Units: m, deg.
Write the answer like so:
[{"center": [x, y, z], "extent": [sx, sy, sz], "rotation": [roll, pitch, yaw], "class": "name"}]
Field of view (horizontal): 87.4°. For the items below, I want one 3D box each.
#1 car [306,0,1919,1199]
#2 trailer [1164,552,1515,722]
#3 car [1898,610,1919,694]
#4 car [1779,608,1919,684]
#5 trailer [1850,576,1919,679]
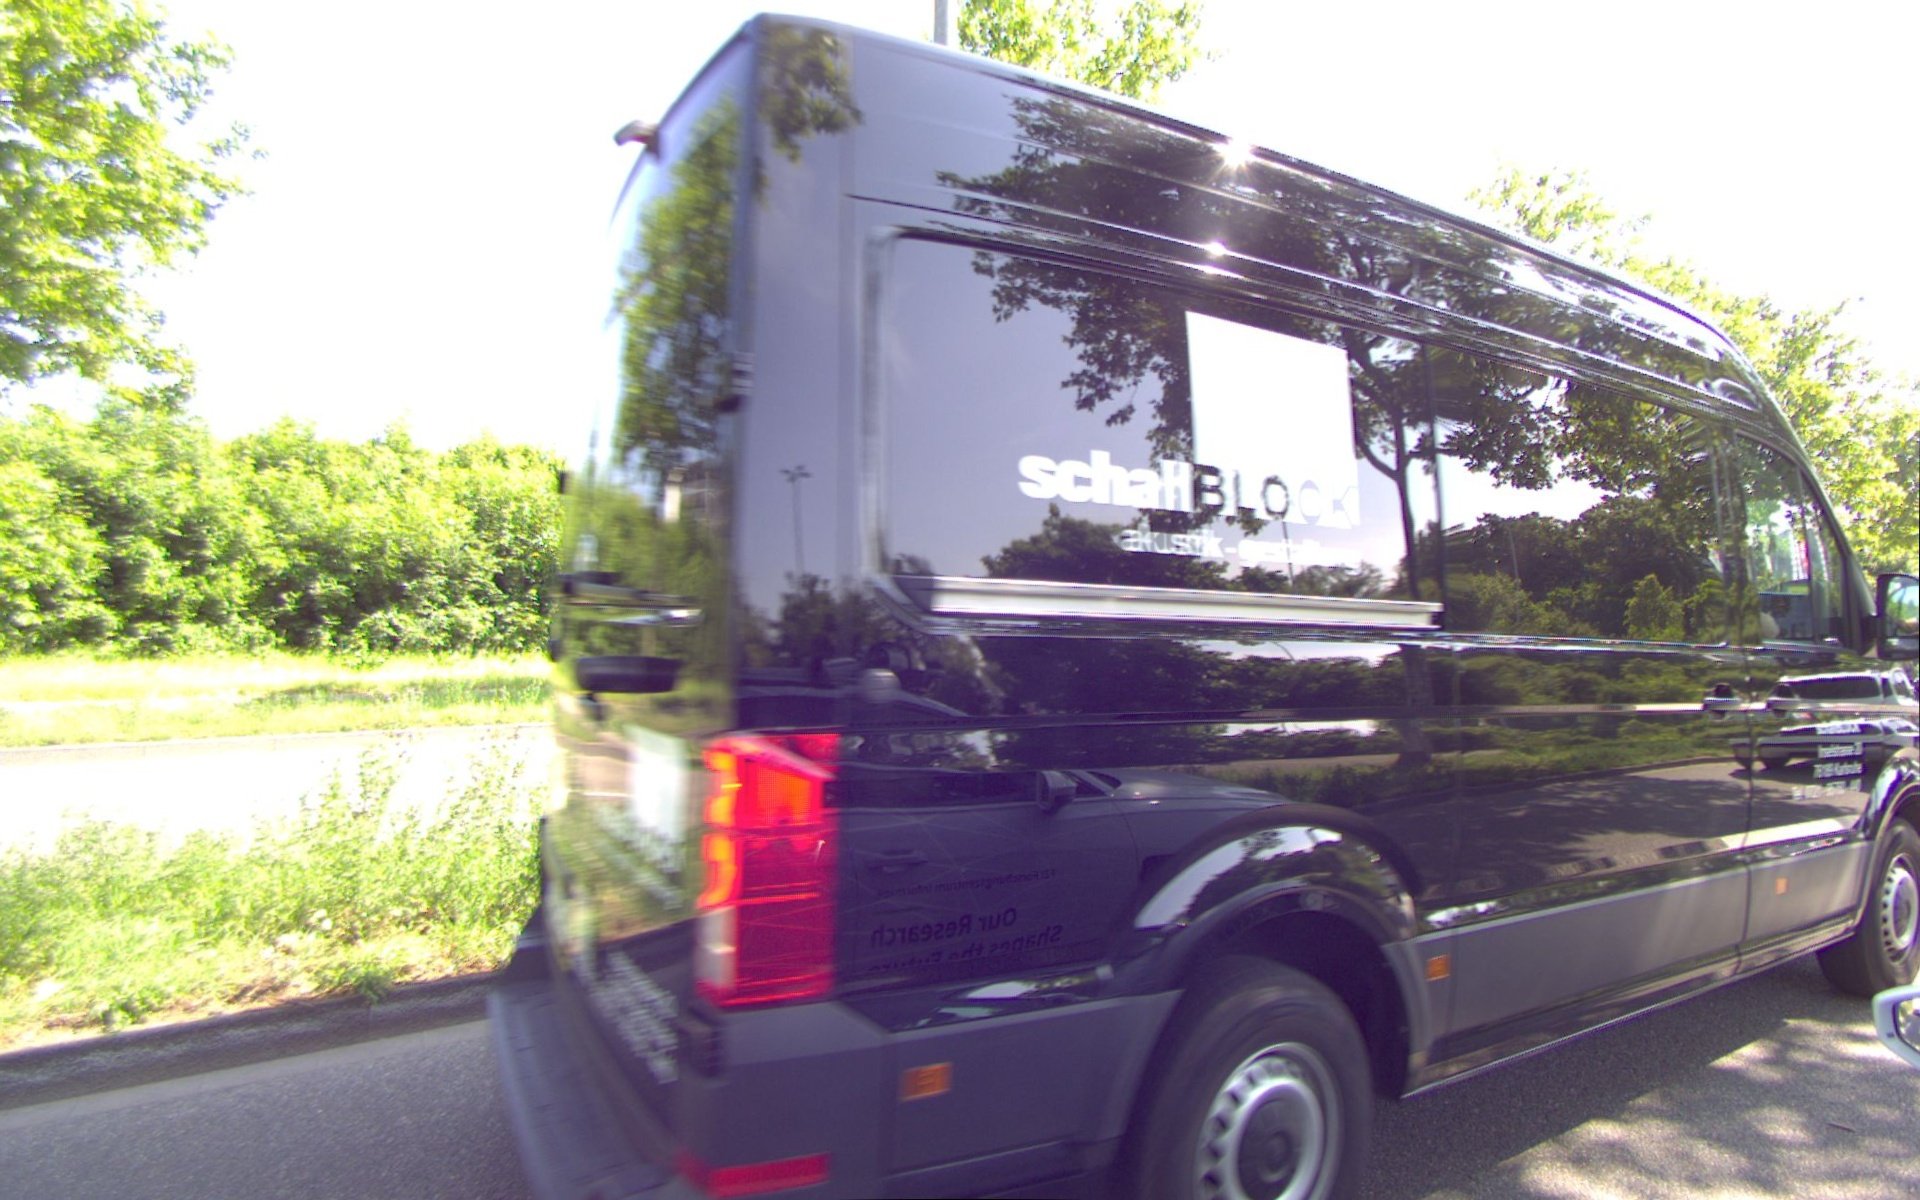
[{"center": [1.389, 0.183, 3.575], "extent": [6.096, 2.642, 2.006], "rotation": [1, 0, -31], "class": "car"}, {"center": [6.100, 0.558, 15.954], "extent": [5.473, 2.295, 2.298], "rotation": [1, -1, -30], "class": "trailer"}, {"center": [23.213, 1.202, 22.755], "extent": [4.182, 1.833, 1.722], "rotation": [1, 1, -30], "class": "car"}, {"center": [23.920, 1.184, 26.559], "extent": [5.313, 1.813, 1.756], "rotation": [1, 1, -30], "class": "car"}, {"center": [27.703, 0.772, 28.773], "extent": [4.772, 2.780, 1.871], "rotation": [1, 1, -30], "class": "trailer"}]
